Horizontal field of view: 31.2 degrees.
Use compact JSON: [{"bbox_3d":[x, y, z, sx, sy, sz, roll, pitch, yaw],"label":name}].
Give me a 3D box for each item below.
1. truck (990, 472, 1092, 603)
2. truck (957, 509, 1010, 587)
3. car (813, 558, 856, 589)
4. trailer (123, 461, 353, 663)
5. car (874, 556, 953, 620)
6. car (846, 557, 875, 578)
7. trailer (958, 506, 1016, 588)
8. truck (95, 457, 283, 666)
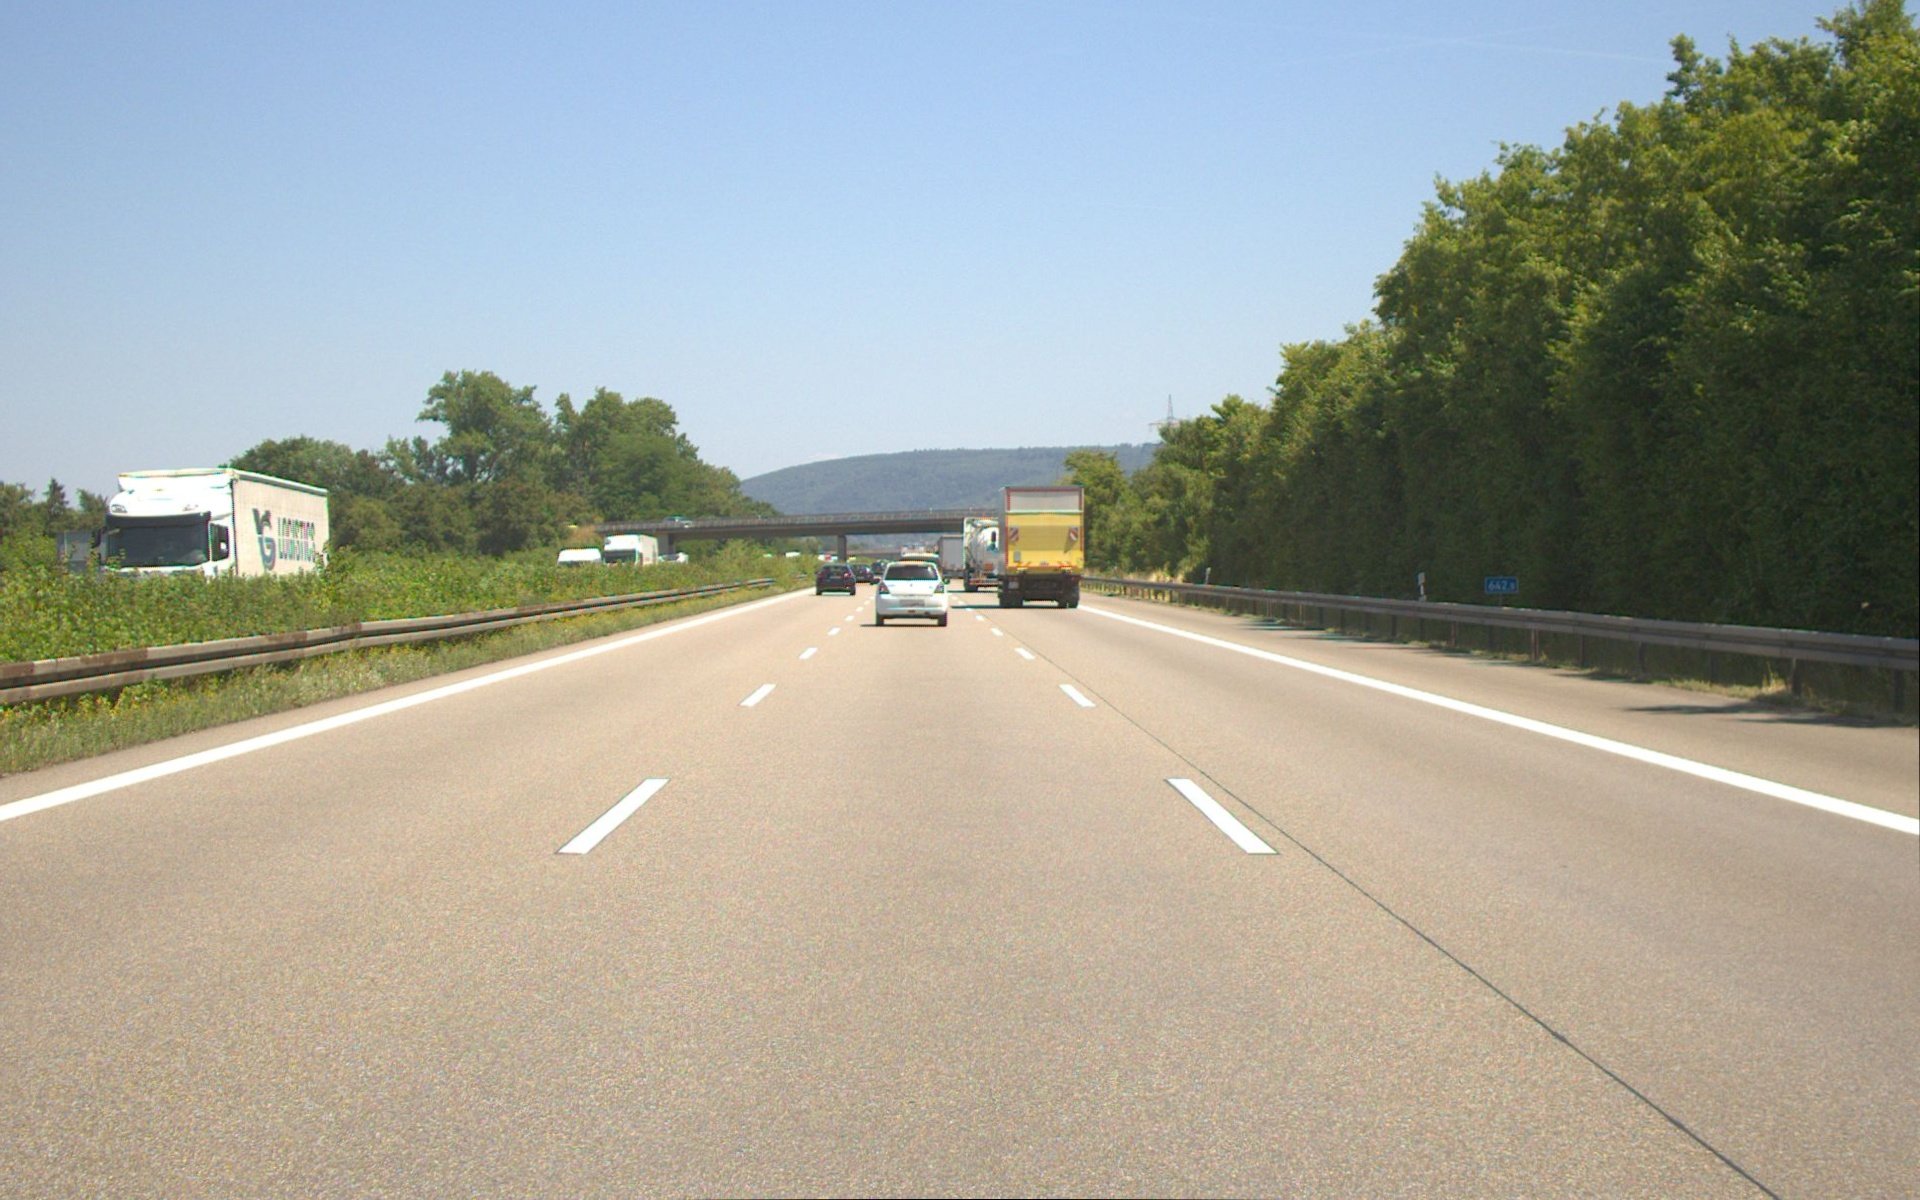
[{"bbox_3d":[2.667,-2.071,116.519,2.933,4.185,10.682,1,1,-1],"label":"truck"},{"bbox_3d":[1.234,-2.740,182.110,2.573,4.058,6.393,1,1,-1],"label":"truck"},{"bbox_3d":[-5.712,-1.218,156.328,1.835,1.382,4.000,1,1,-1],"label":"car"},{"bbox_3d":[-17.519,-0.933,84.517,2.821,4.511,13.867,1,1,-1],"label":"trailer"},{"bbox_3d":[-1.103,-0.300,81.475,1.806,1.463,4.000,1,1,-1],"label":"car"},{"bbox_3d":[-6.678,-2.181,230.709,1.835,1.382,4.000,1,1,-1],"label":"car"},{"bbox_3d":[1.339,-2.689,176.840,2.580,4.060,11.104,1,1,-1],"label":"trailer"},{"bbox_3d":[-17.455,-0.870,78.243,2.821,4.511,6.539,1,1,-1],"label":"truck"}]
